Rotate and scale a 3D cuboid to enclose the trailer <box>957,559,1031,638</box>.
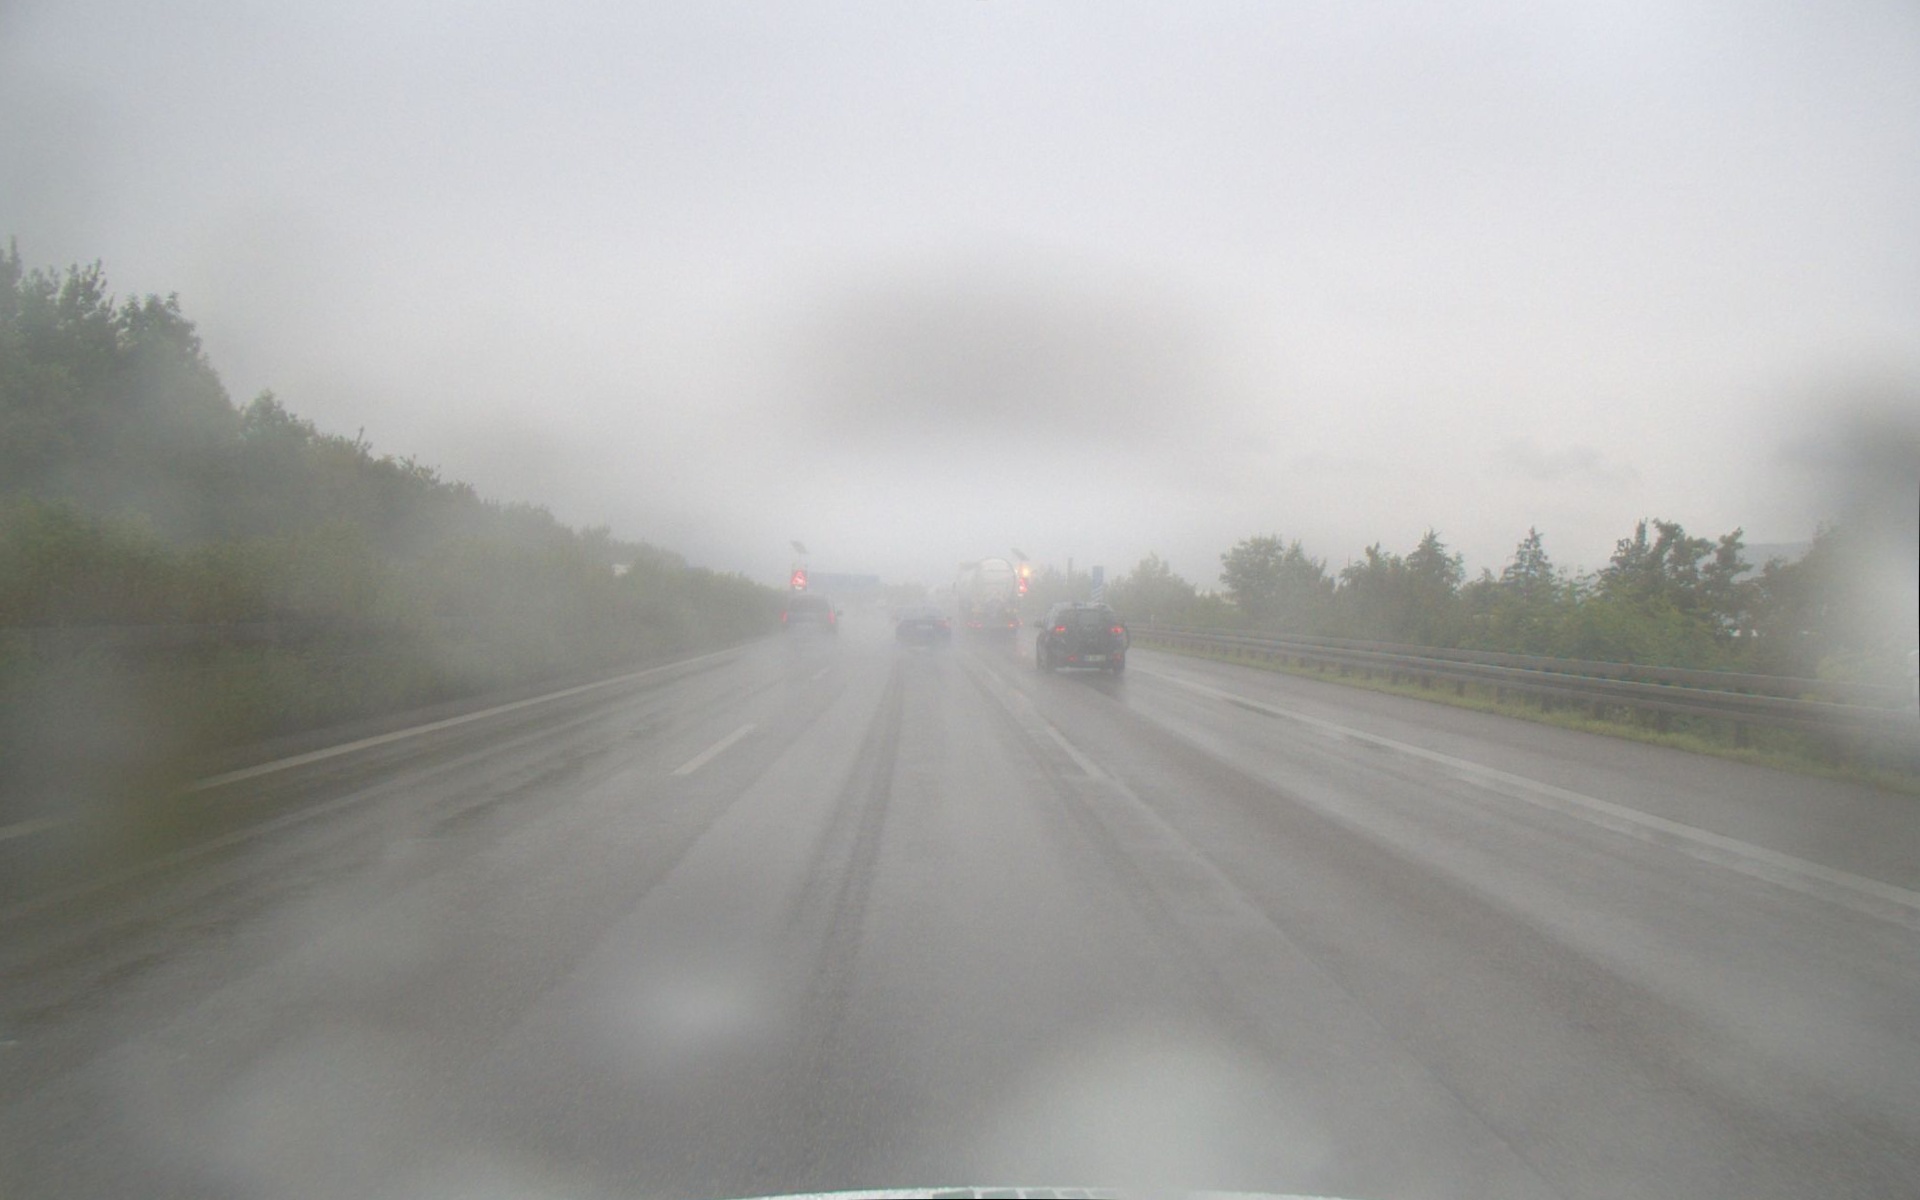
[{"bbox_3d":[1.628,-0.067,84.973,3.124,3.734,11.661,1,0,-2],"label":"trailer"}]

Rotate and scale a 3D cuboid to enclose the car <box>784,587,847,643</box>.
[{"bbox_3d":[-4.791,0.474,55.477,1.886,1.771,4.401,1,0,-3],"label":"car"}]

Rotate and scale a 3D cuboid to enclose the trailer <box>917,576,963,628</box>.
[{"bbox_3d":[-1.613,0.157,129.557,2.946,3.915,8.615,1,0,-5],"label":"trailer"}]

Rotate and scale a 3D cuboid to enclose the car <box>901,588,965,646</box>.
[{"bbox_3d":[-0.908,0.525,53.436,1.939,1.787,4.479,1,0,-3],"label":"car"}]

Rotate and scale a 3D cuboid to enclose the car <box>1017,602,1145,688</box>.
[{"bbox_3d":[2.673,0.952,37.895,2.407,1.776,5.718,1,0,-1],"label":"car"}]
